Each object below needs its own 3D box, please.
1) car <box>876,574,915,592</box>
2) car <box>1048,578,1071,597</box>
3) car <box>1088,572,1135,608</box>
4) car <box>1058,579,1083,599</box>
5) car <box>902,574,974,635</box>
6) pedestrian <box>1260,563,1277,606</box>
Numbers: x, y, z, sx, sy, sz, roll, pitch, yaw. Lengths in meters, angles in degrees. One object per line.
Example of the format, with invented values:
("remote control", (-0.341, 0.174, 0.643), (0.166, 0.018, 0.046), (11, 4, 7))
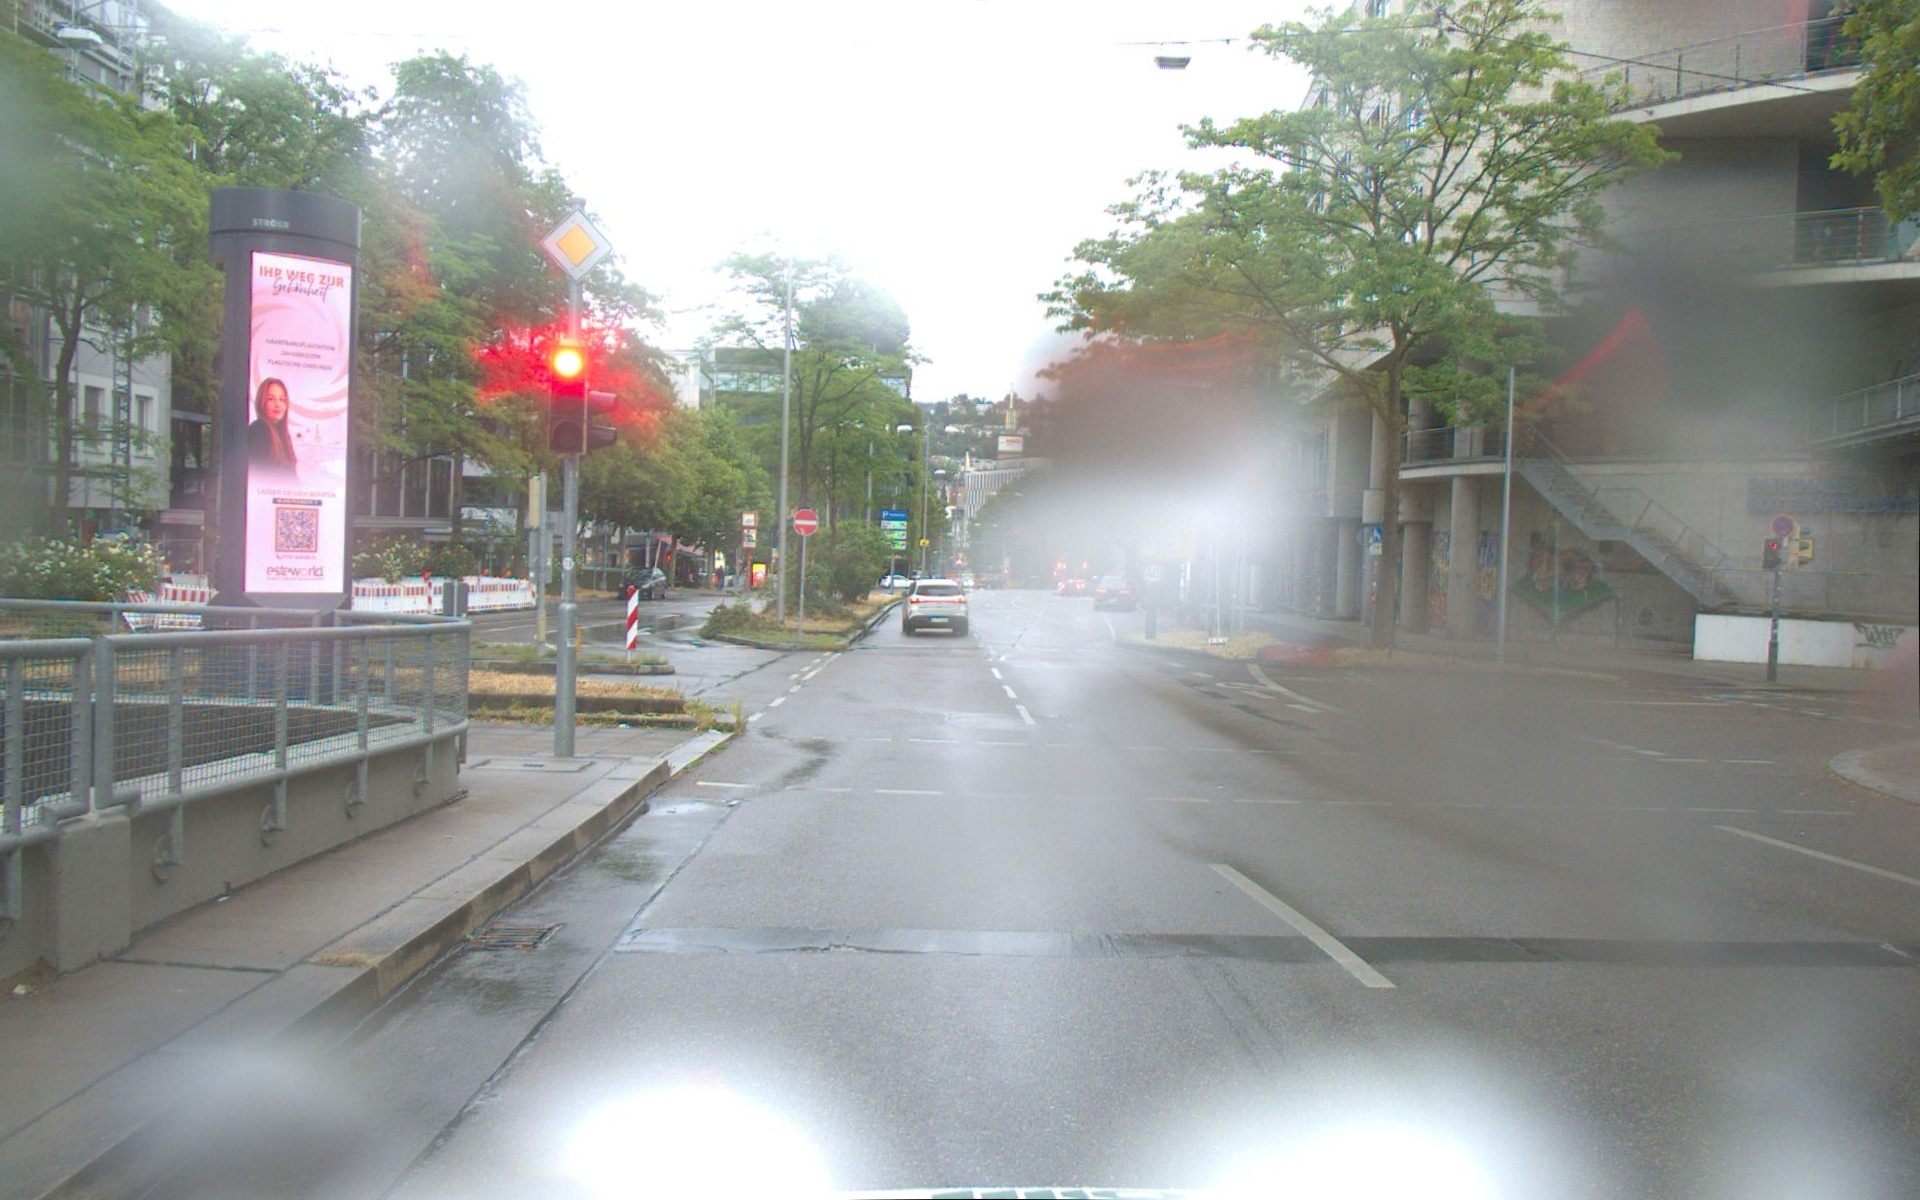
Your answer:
("car", (-7.256, -1.903, 186.035), (3.930, 1.789, 1.988), (2, 0, -21))
("car", (10.029, -1.246, 166.962), (1.953, 1.766, 3.999), (1, 0, -1))
("car", (7.667, -0.507, 83.538), (2.288, 1.720, 4.003), (1, 1, 6))
("car", (10.349, -1.020, 154.611), (1.953, 1.754, 3.999), (1, 0, -2))
("car", (-0.715, 0.116, 49.858), (1.793, 1.668, 4.296), (2, 0, -5))
("pedestrian", (14.506, -0.724, 77.724), (0.759, 1.954, 0.703), (1, -1, 9))
